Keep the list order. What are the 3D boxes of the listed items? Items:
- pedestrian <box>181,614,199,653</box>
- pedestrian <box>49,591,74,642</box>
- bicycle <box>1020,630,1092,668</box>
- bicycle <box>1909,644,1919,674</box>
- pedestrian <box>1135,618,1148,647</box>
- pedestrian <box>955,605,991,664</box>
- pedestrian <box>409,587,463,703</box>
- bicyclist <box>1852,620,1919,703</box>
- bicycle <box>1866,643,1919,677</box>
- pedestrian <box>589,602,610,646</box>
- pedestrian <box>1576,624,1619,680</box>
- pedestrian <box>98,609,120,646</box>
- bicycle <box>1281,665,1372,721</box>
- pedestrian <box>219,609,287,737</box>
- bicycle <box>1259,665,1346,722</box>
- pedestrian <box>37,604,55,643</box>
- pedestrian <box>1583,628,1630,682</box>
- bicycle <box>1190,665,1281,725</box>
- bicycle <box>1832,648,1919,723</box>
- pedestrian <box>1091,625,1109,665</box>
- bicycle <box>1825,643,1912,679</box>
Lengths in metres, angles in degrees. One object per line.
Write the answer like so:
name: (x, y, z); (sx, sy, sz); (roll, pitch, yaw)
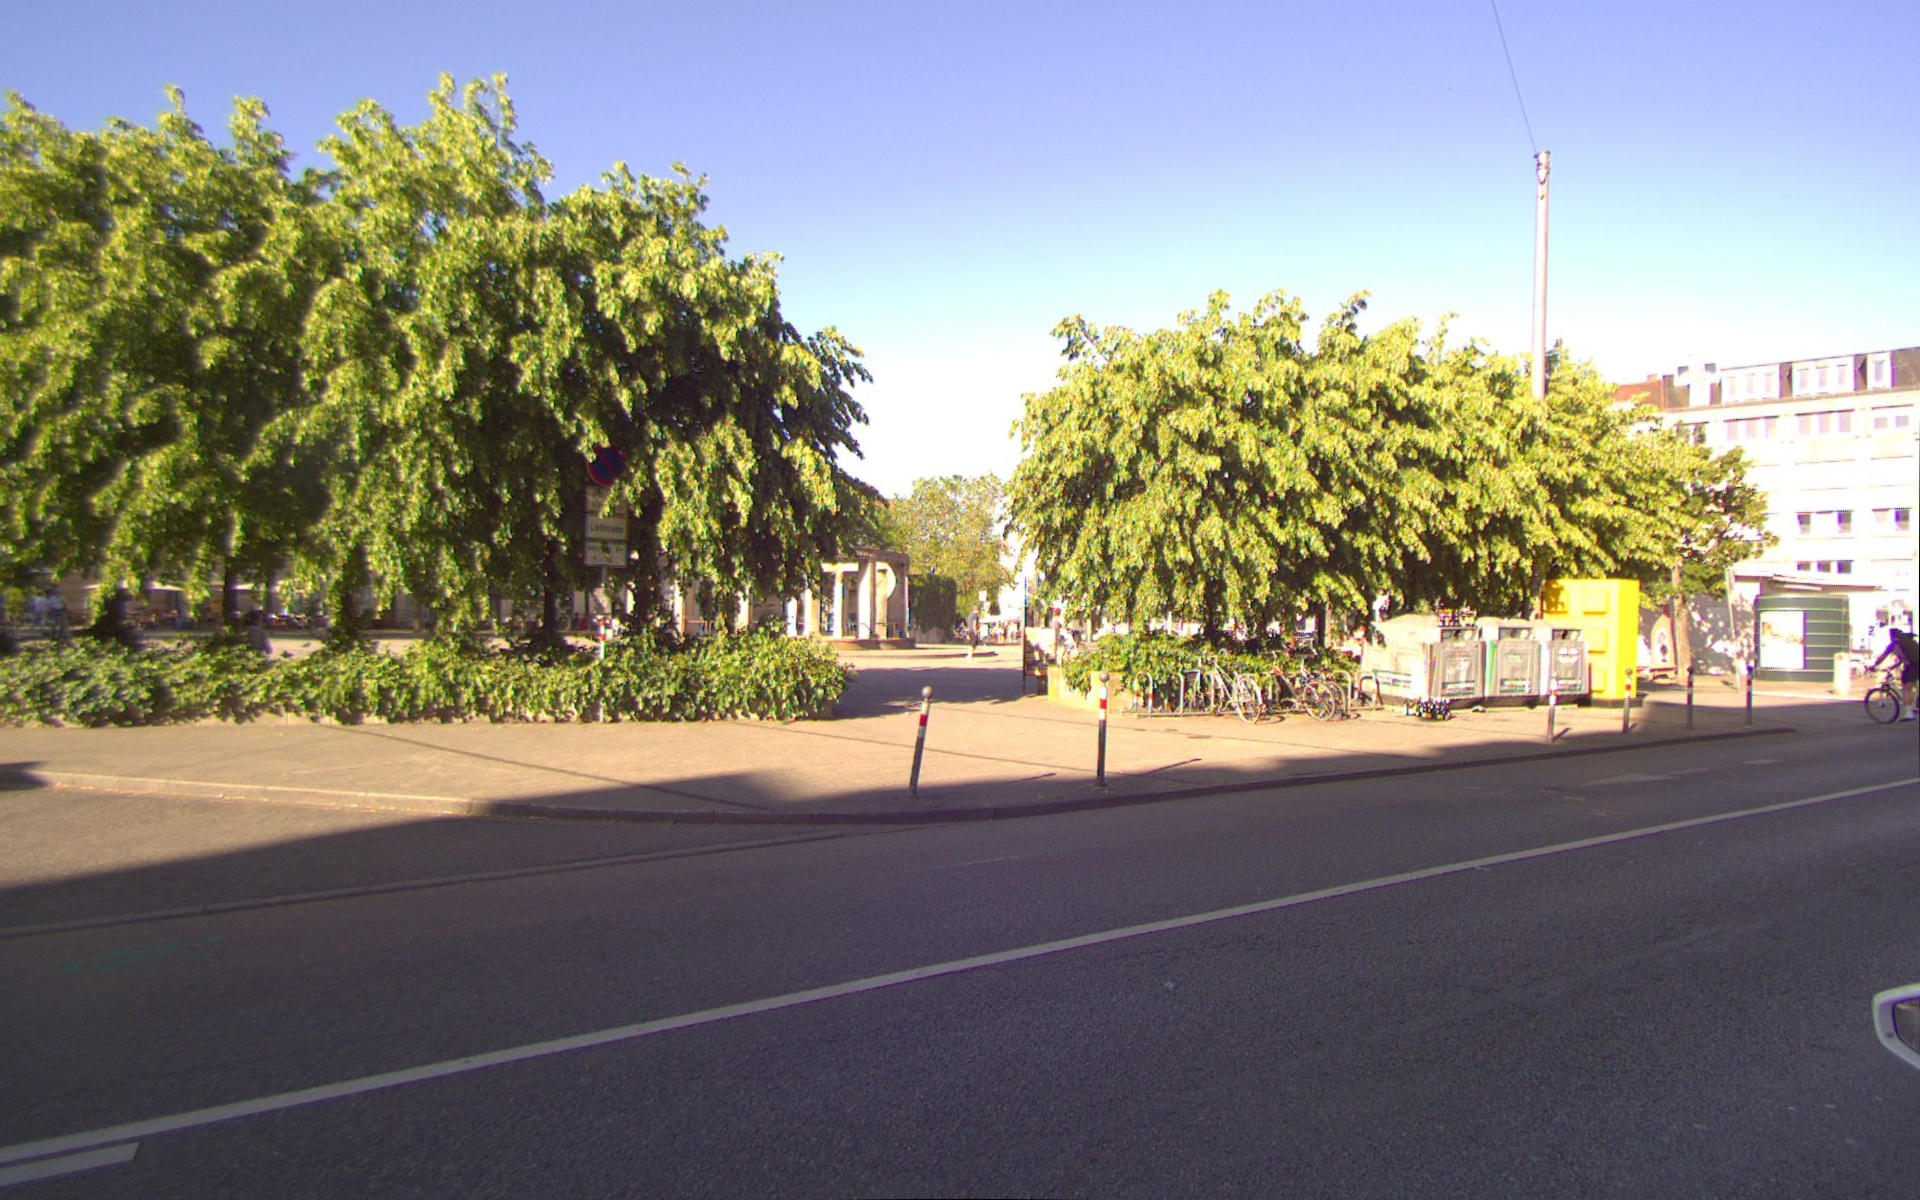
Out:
pedestrian: (-36.595, 1.597, 47.739); (0.579, 1.816, 0.593); (2, 0, -44)
pedestrian: (-32.254, 0.599, 36.070); (0.597, 1.816, 0.576); (2, 0, -40)
bicycle: (2.756, 1.411, 28.824); (2.026, 1.030, 0.502); (2, 0, -17)
bicycle: (37.136, 2.247, 37.713); (0.796, 1.119, 2.072); (1, -1, -30)
pedestrian: (11.455, 2.044, 63.411); (0.591, 1.816, 0.581); (1, 0, -12)
pedestrian: (0.391, 1.044, 30.885); (0.918, 1.775, 0.728); (2, 0, -15)
pedestrian: (-8.747, 0.736, 16.775); (0.574, 1.881, 0.598); (1, 0, 41)
bicyclist: (17.074, 1.102, 18.272); (0.784, 1.454, 1.007); (1, -1, -9)
bicycle: (33.174, 2.112, 35.133); (0.796, 1.119, 2.072); (1, -1, -30)
pedestrian: (-14.458, 0.954, 40.284); (0.579, 1.744, 0.593); (2, 0, -44)
pedestrian: (20.233, 1.644, 31.889); (0.734, 1.748, 0.898); (1, 0, -26)
pedestrian: (-42.561, 1.360, 50.229); (0.571, 1.816, 0.601); (1, 0, 19)
bicycle: (5.971, 1.504, 16.417); (0.468, 0.779, 1.468); (2, 0, -27)
pedestrian: (-10.736, 1.094, 15.266); (0.722, 1.881, 0.578); (2, 0, -28)
bicycle: (5.483, 1.477, 16.152); (0.435, 0.779, 1.469); (2, 0, -25)
pedestrian: (-43.343, 1.097, 47.644); (0.597, 1.816, 0.575); (2, 0, -44)
pedestrian: (20.423, 1.717, 31.738); (0.727, 1.658, 0.983); (1, 0, -26)
bicycle: (4.233, 1.445, 15.564); (0.467, 0.779, 1.653); (2, 0, -20)
bicycle: (17.076, 1.540, 18.244); (0.784, 1.249, 1.771); (1, -1, -9)
pedestrian: (7.204, 2.336, 51.813); (0.670, 2.040, 0.579); (2, 0, -23)
bicycle: (30.869, 2.065, 34.159); (0.796, 1.119, 2.072); (1, -1, -30)
